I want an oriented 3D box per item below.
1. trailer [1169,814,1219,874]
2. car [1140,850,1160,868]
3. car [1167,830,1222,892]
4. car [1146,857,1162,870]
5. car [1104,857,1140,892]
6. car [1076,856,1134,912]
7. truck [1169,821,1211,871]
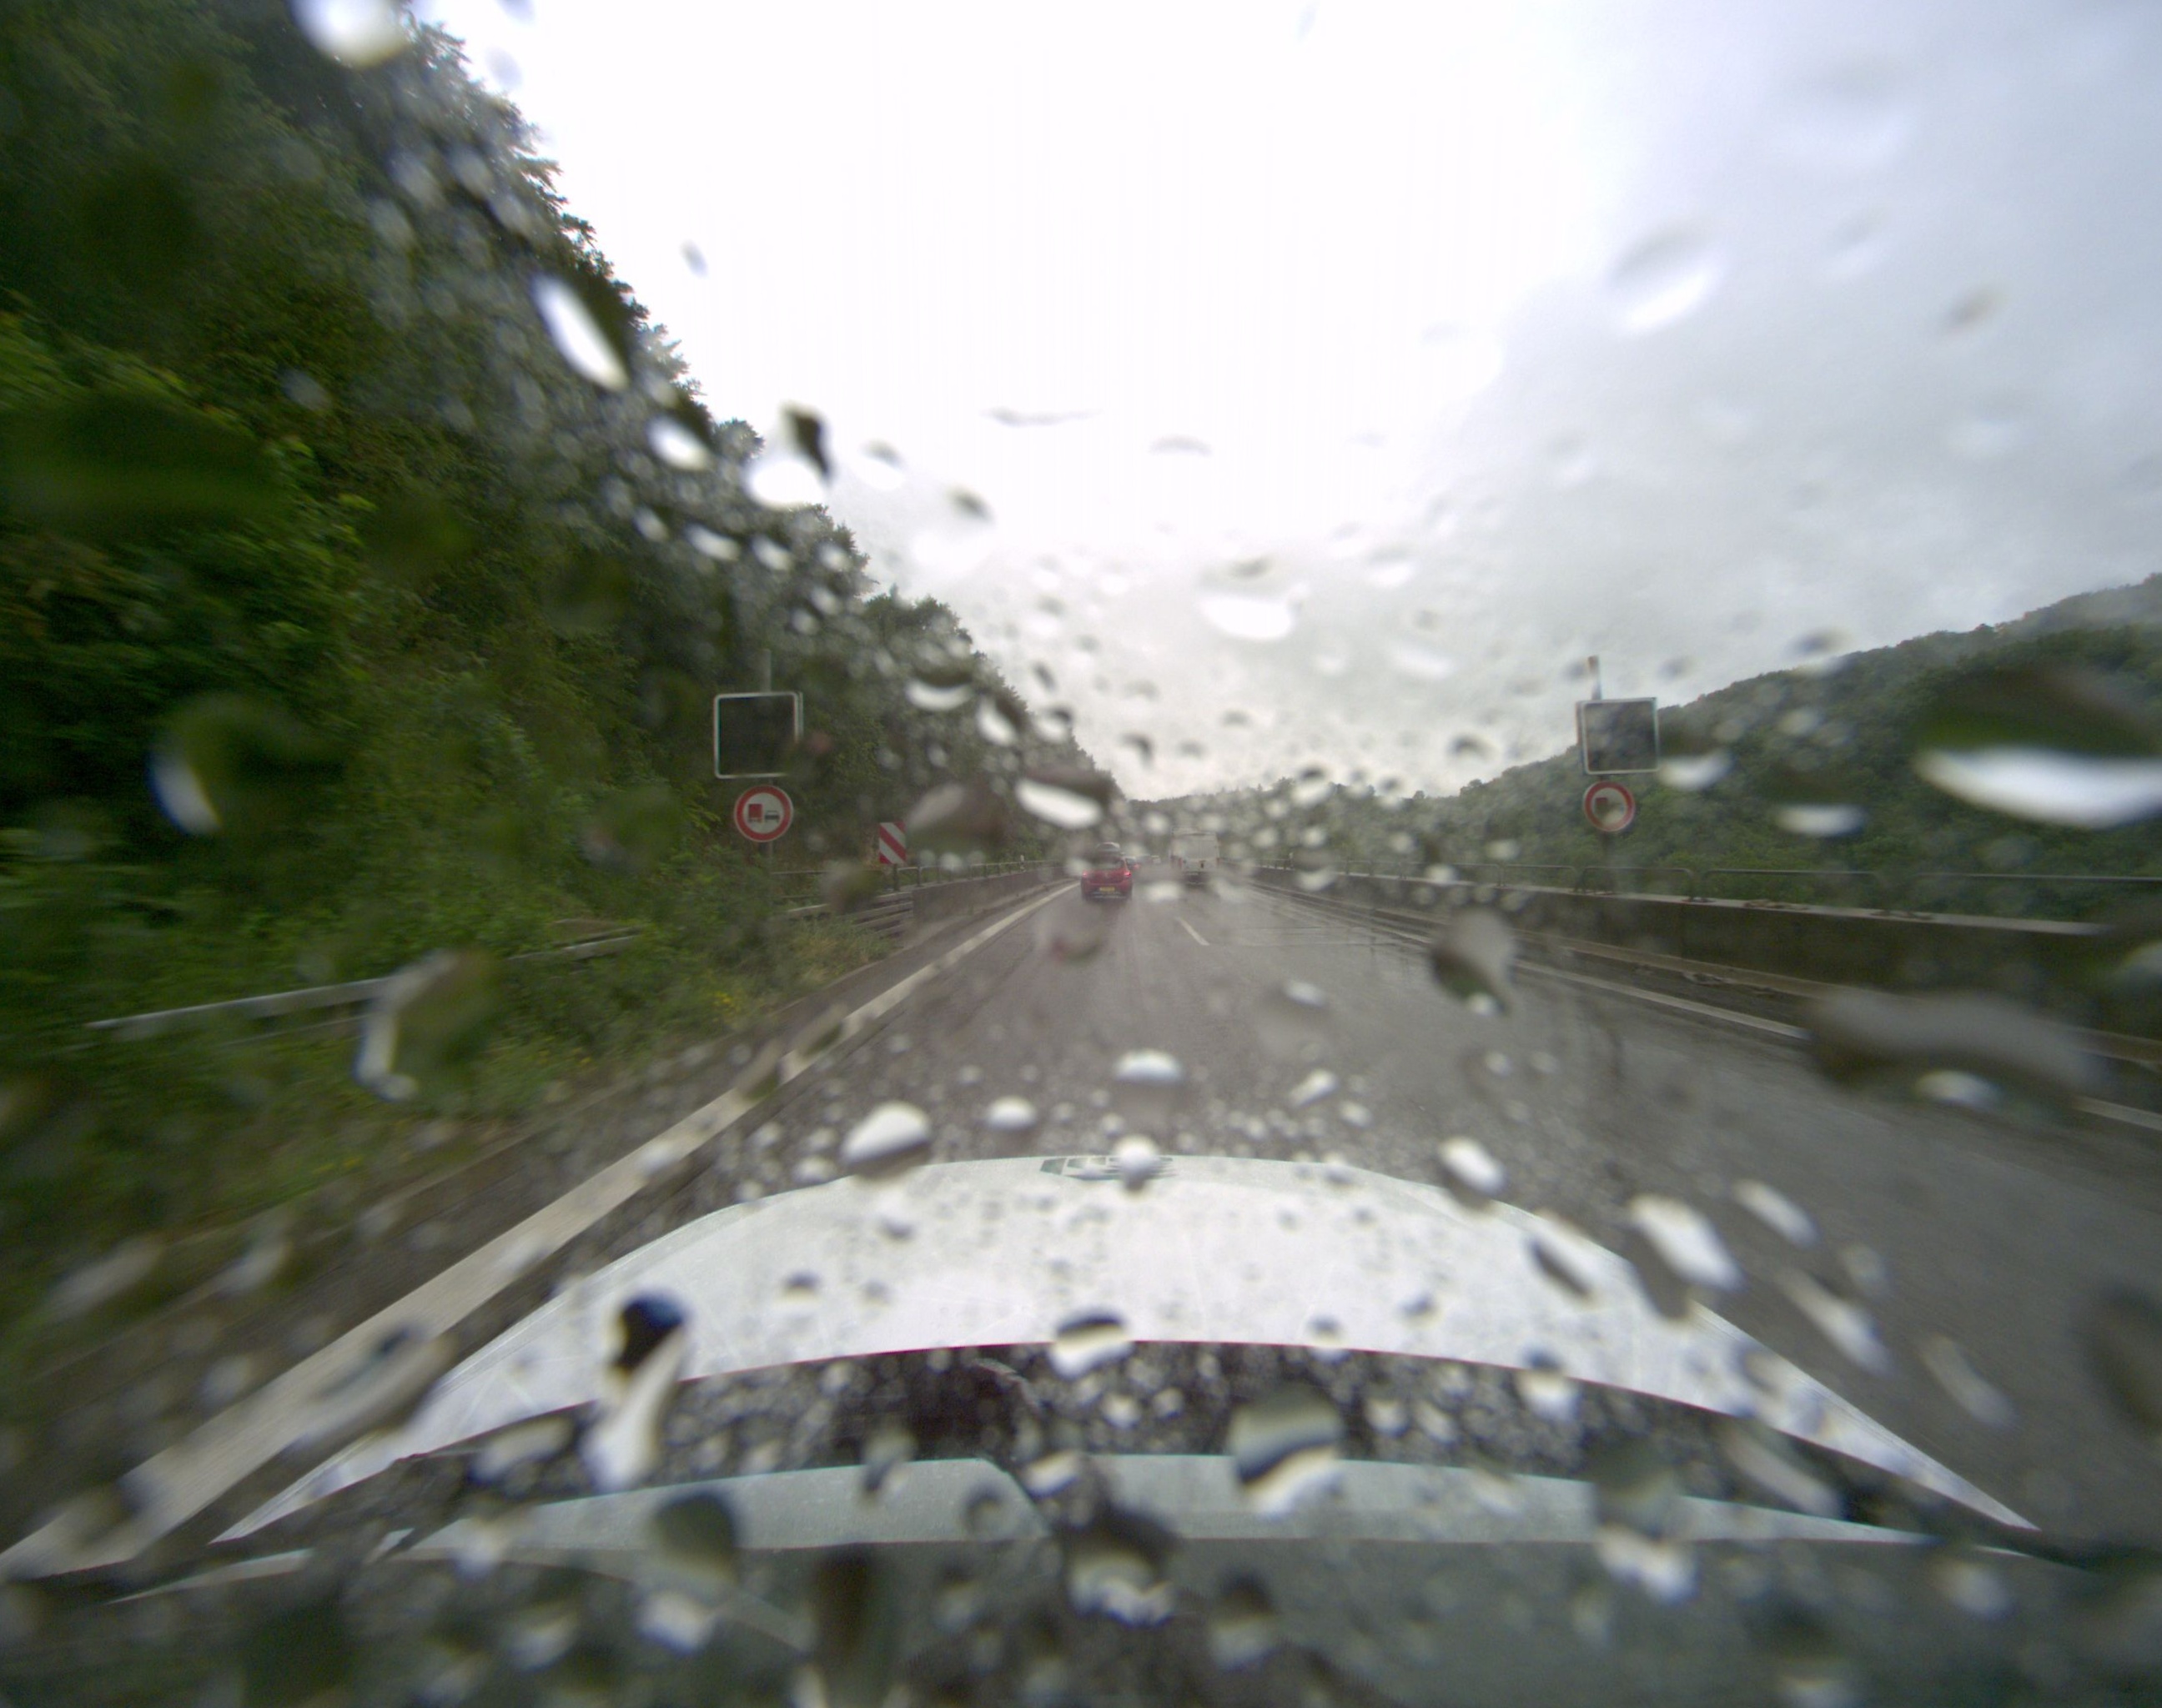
[{"bbox_3d":[8.477,-0.637,62.547,3.202,3.999,13.545,-2,0,6],"label":"trailer"},{"bbox_3d":[7.082,0.483,83.603,1.865,1.706,3.895,-4,-1,6],"label":"car"},{"bbox_3d":[5.586,0.342,41.089,2.196,2.794,7.390,-1,0,4],"label":"car"},{"bbox_3d":[10.414,1.358,115.519,1.983,1.639,4.008,-4,-1,7],"label":"car"},{"bbox_3d":[2.310,1.124,45.771,1.825,1.715,3.647,-4,-1,2],"label":"car"},{"bbox_3d":[0.877,1.005,28.520,1.751,1.684,4.002,-4,-1,3],"label":"car"},{"bbox_3d":[9.145,-0.628,68.792,3.203,3.978,5.447,-2,0,6],"label":"truck"}]
